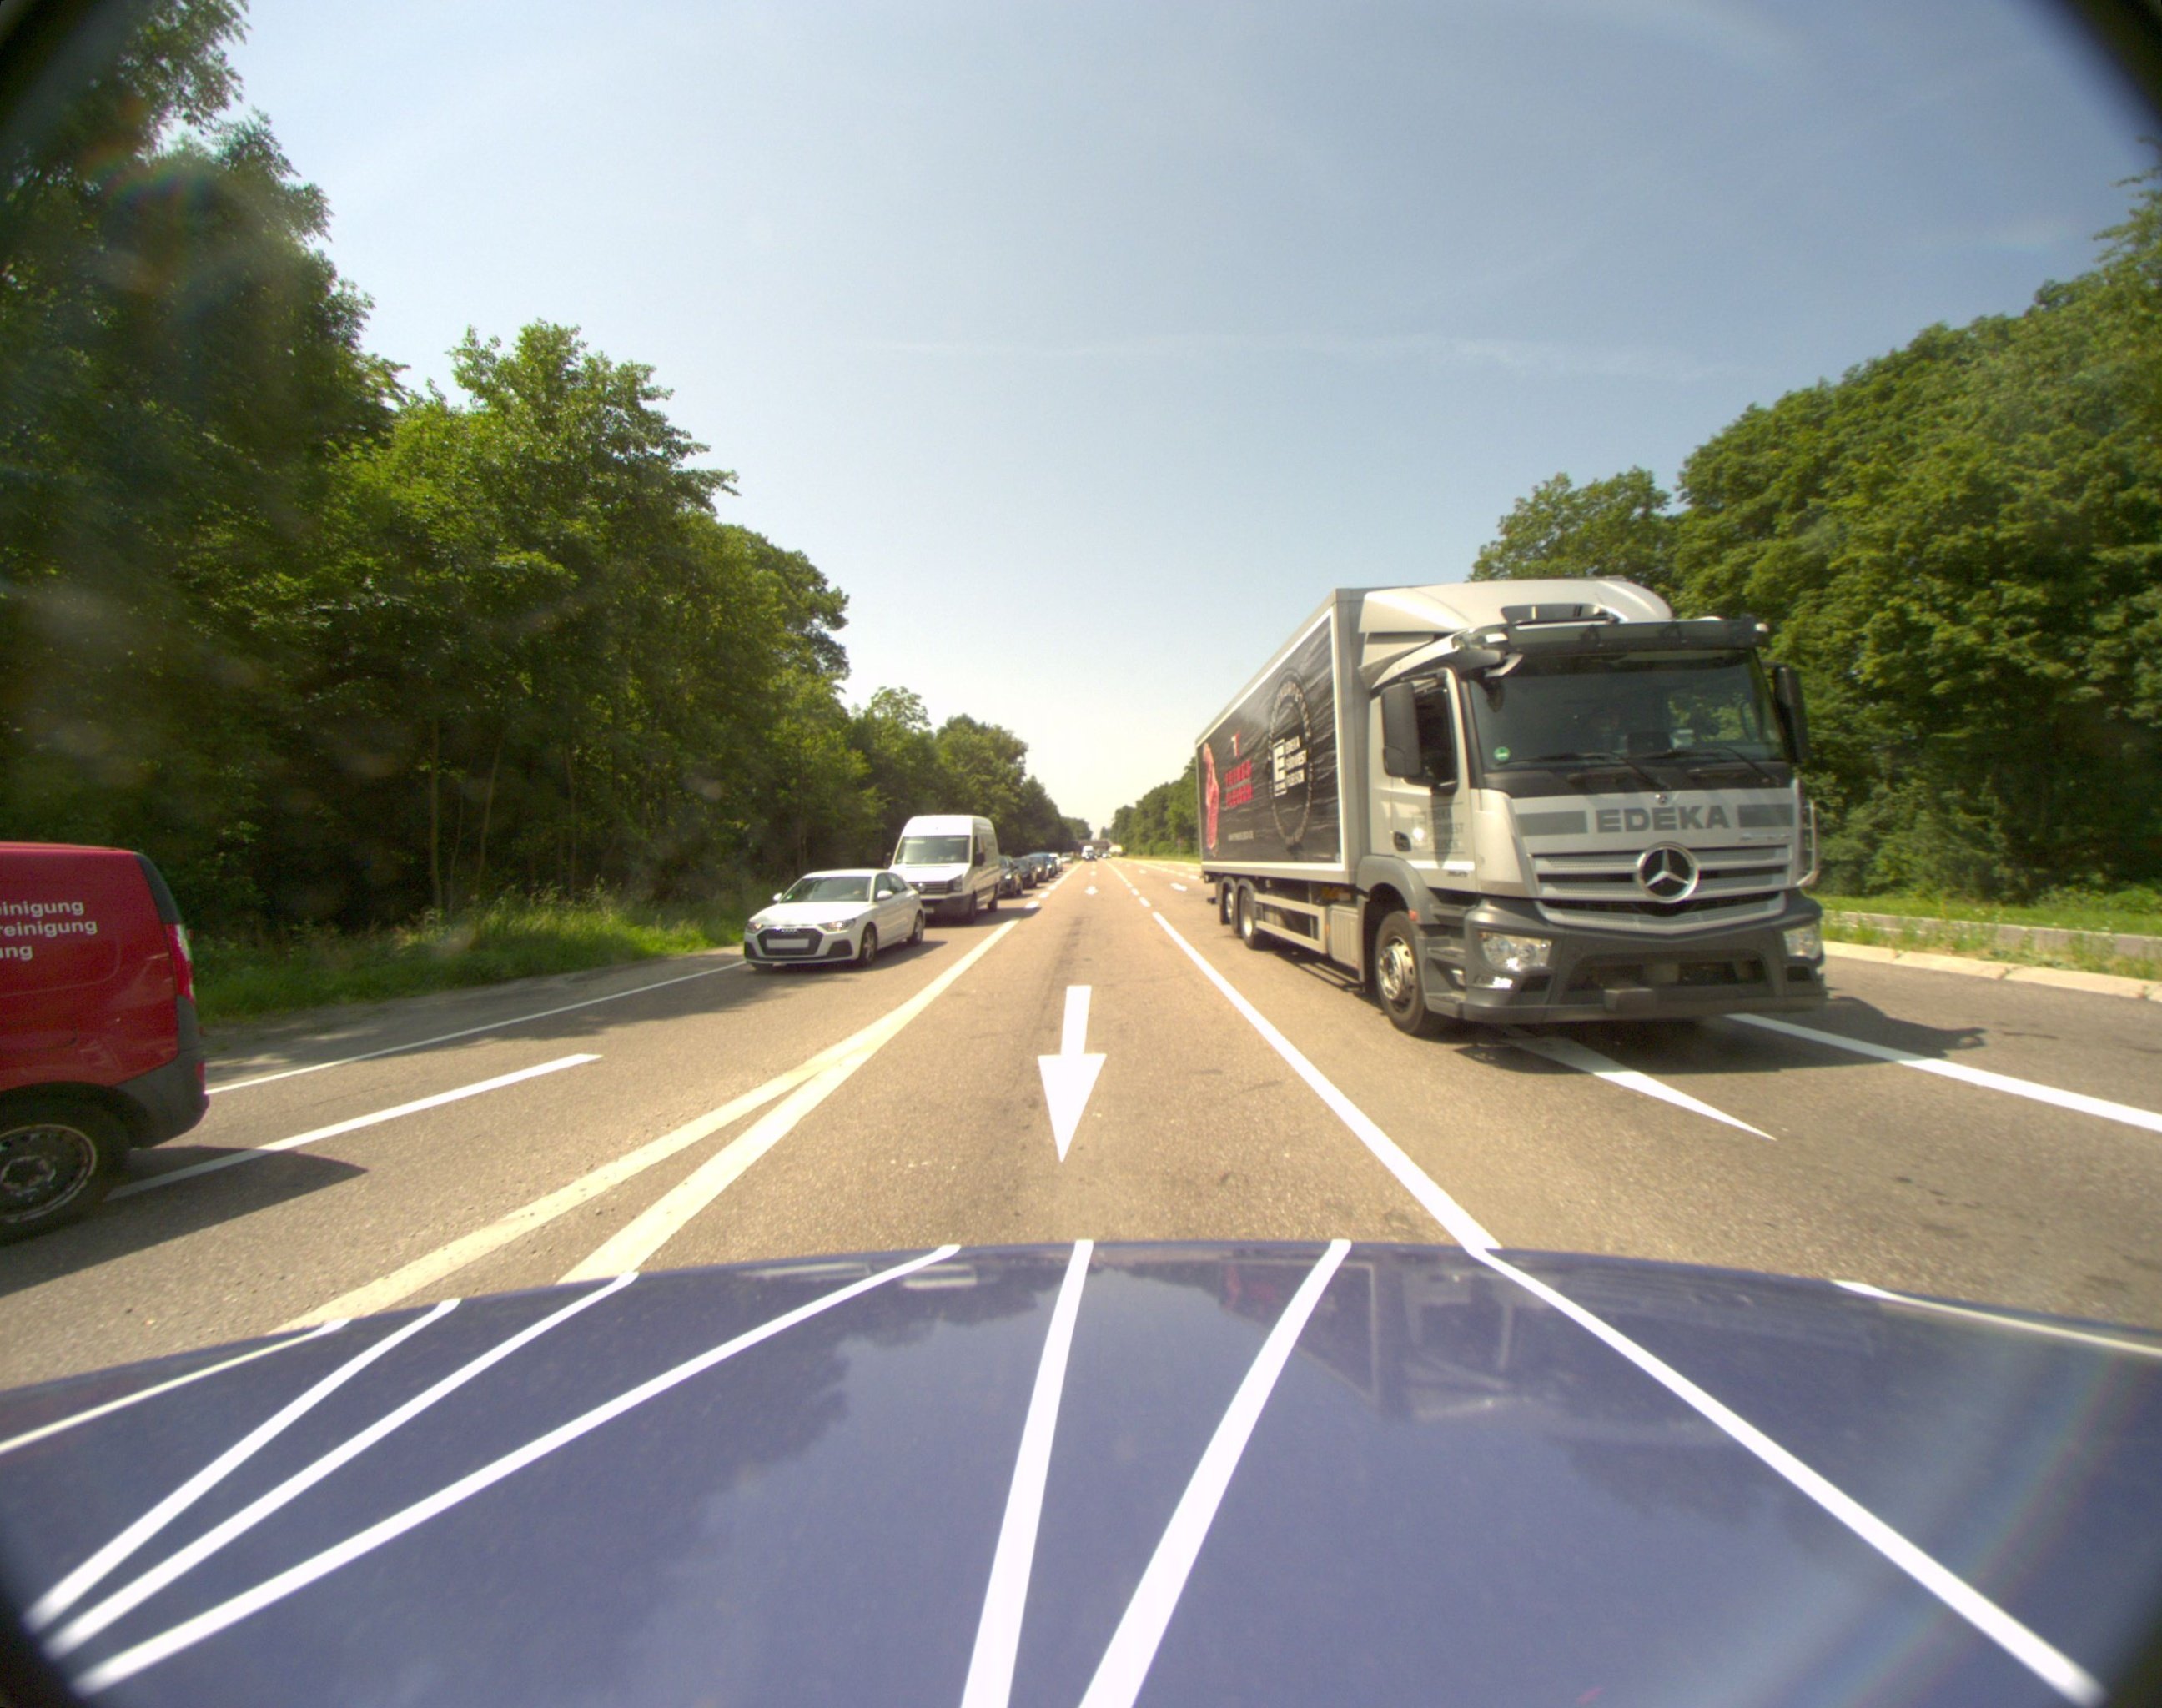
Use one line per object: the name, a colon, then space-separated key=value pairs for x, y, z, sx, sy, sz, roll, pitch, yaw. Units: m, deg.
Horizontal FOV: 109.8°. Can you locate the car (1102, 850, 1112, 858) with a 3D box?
car: x=5.538 y=-0.022 z=163.236 sx=1.998 sy=1.543 sz=4.000 roll=0 pitch=0 yaw=1

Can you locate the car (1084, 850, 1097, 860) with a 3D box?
car: x=1.545 y=0.094 z=123.154 sx=1.992 sy=1.575 sz=4.364 roll=-1 pitch=1 yaw=0

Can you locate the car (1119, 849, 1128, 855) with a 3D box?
car: x=11.282 y=-0.615 z=202.705 sx=1.998 sy=1.543 sz=3.999 roll=-2 pitch=1 yaw=1

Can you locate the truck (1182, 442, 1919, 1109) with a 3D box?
truck: x=3.565 y=-0.504 z=10.180 sx=2.753 sy=3.862 sz=11.319 roll=-2 pitch=1 yaw=0

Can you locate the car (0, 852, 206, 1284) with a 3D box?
car: x=-5.931 y=0.957 z=1.897 sx=1.794 sy=1.812 sz=4.502 roll=-2 pitch=0 yaw=18

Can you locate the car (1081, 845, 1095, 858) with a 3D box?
car: x=1.417 y=-0.522 z=154.836 sx=2.673 sy=2.685 sz=6.330 roll=0 pitch=0 yaw=3

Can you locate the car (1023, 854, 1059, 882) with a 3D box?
car: x=-2.185 y=0.757 z=42.562 sx=1.796 sy=1.431 sz=4.228 roll=-1 pitch=1 yaw=0

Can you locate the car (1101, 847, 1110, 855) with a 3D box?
car: x=6.066 y=-0.722 z=187.506 sx=1.998 sy=1.867 sz=4.001 roll=0 pitch=1 yaw=4

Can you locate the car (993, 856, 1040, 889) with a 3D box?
car: x=-2.929 y=0.818 z=35.385 sx=1.796 sy=1.348 sz=4.228 roll=-1 pitch=1 yaw=0

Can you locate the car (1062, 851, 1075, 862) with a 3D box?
car: x=-1.758 y=0.351 z=108.949 sx=1.796 sy=1.431 sz=4.228 roll=-1 pitch=1 yaw=0

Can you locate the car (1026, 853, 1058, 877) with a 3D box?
car: x=-2.445 y=0.655 z=48.759 sx=1.796 sy=1.431 sz=4.228 roll=-1 pitch=1 yaw=0

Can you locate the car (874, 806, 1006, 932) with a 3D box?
car: x=-3.327 y=0.315 z=19.399 sx=1.974 sy=2.630 sz=6.060 roll=-2 pitch=0 yaw=2

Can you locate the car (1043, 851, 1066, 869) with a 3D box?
car: x=-2.206 y=0.470 z=64.130 sx=1.796 sy=1.431 sz=4.228 roll=0 pitch=0 yaw=0

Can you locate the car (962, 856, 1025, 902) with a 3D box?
car: x=-3.191 y=0.875 z=28.449 sx=1.796 sy=1.452 sz=4.228 roll=-2 pitch=1 yaw=0

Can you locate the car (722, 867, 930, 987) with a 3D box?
car: x=-3.829 y=1.026 z=12.212 sx=1.693 sy=1.427 sz=4.001 roll=-3 pitch=0 yaw=4
